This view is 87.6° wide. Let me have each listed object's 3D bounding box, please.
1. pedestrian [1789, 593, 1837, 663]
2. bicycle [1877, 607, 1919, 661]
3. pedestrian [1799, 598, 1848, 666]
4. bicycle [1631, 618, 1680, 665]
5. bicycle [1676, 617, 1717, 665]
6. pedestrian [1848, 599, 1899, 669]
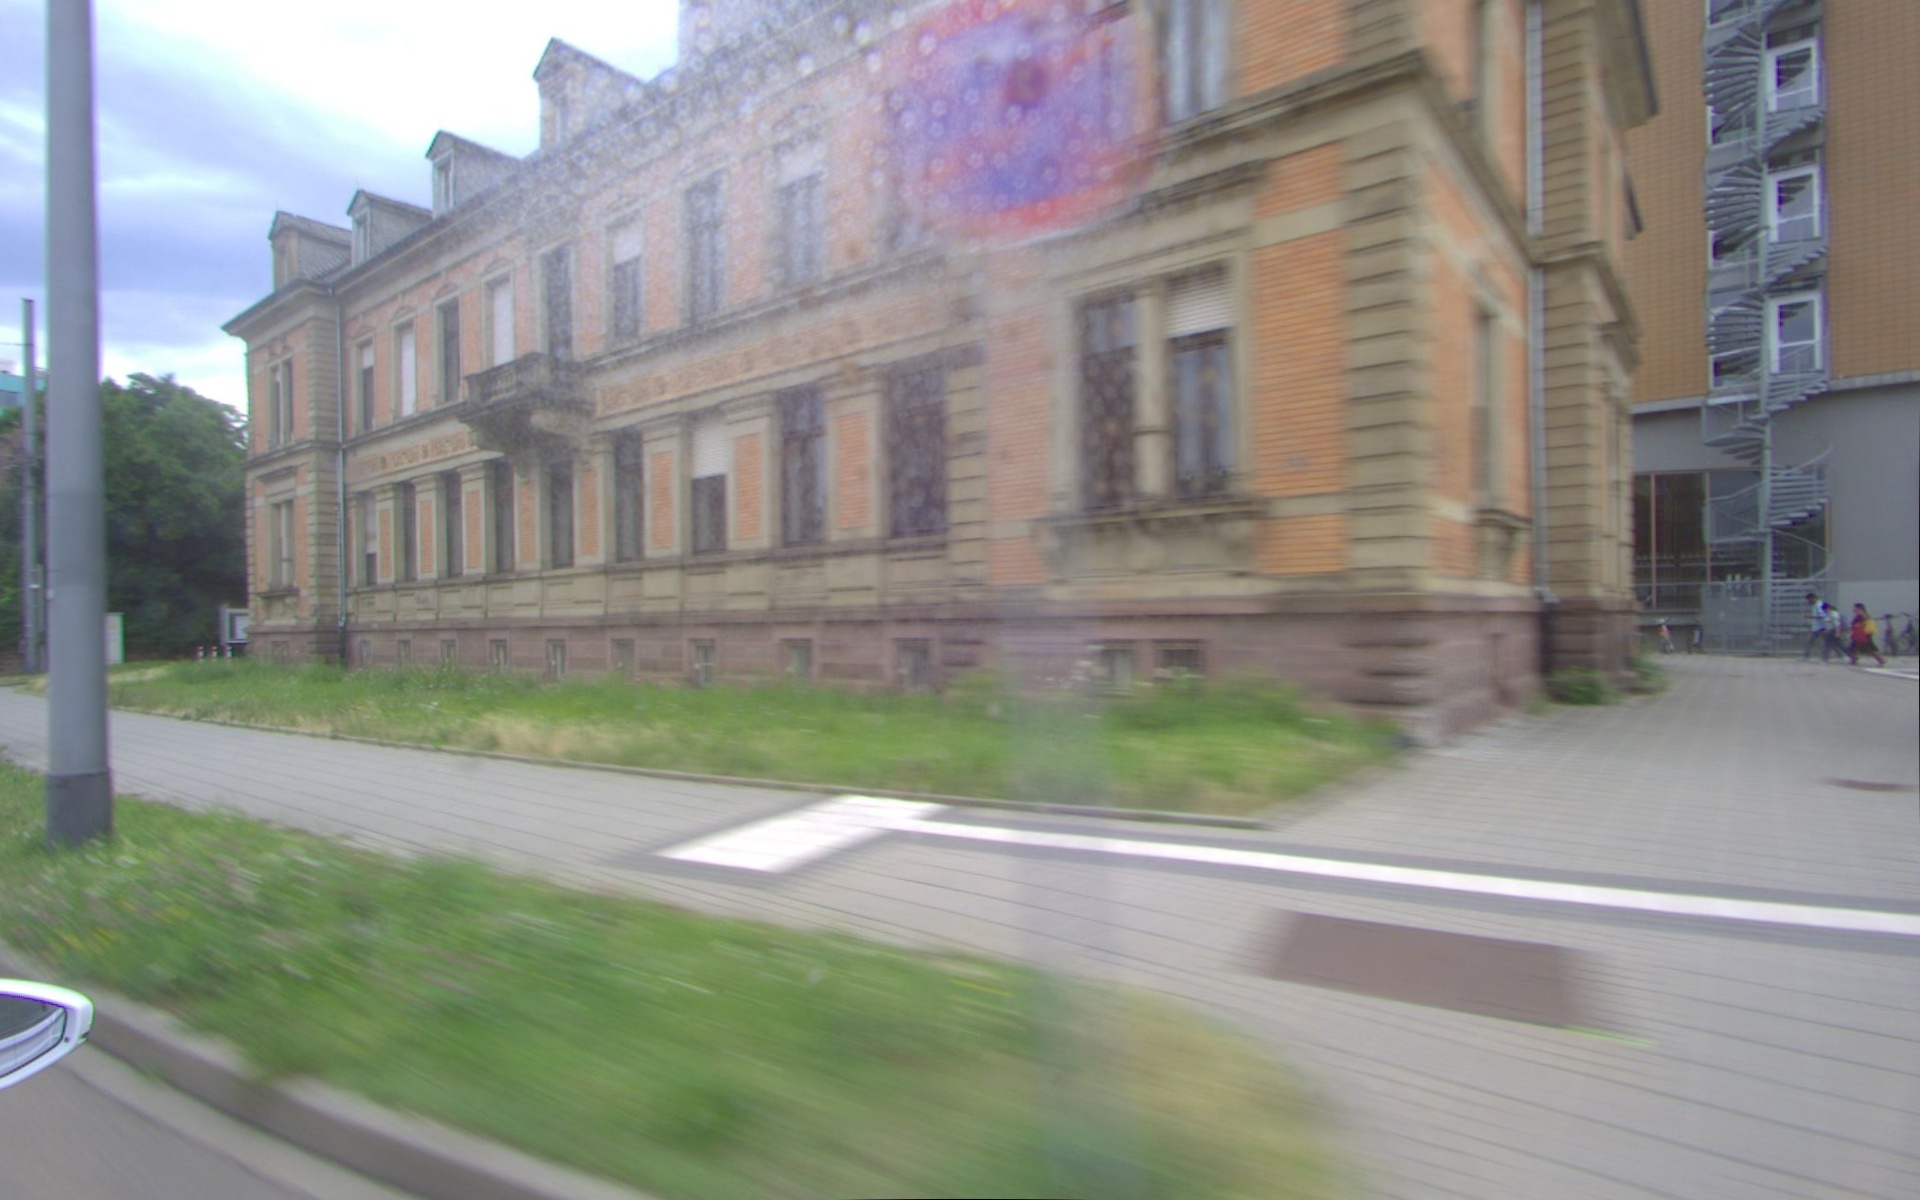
[{"bbox_3d":[21.947,0.712,25.773,0.717,1.759,0.865,-1,0,-45],"label":"pedestrian"},{"bbox_3d":[24.965,0.895,26.632,0.806,1.356,2.588,-3,-2,43],"label":"bicycle"},{"bbox_3d":[21.507,0.794,24.949,0.717,1.652,0.865,-1,0,-45],"label":"pedestrian"},{"bbox_3d":[20.878,1.218,30.025,0.806,1.356,2.588,-3,-2,43],"label":"bicycle"},{"bbox_3d":[21.536,1.173,29.266,0.640,1.356,2.588,-3,-2,43],"label":"bicycle"},{"bbox_3d":[21.890,0.807,23.991,0.717,1.652,0.865,-1,0,-45],"label":"pedestrian"}]
